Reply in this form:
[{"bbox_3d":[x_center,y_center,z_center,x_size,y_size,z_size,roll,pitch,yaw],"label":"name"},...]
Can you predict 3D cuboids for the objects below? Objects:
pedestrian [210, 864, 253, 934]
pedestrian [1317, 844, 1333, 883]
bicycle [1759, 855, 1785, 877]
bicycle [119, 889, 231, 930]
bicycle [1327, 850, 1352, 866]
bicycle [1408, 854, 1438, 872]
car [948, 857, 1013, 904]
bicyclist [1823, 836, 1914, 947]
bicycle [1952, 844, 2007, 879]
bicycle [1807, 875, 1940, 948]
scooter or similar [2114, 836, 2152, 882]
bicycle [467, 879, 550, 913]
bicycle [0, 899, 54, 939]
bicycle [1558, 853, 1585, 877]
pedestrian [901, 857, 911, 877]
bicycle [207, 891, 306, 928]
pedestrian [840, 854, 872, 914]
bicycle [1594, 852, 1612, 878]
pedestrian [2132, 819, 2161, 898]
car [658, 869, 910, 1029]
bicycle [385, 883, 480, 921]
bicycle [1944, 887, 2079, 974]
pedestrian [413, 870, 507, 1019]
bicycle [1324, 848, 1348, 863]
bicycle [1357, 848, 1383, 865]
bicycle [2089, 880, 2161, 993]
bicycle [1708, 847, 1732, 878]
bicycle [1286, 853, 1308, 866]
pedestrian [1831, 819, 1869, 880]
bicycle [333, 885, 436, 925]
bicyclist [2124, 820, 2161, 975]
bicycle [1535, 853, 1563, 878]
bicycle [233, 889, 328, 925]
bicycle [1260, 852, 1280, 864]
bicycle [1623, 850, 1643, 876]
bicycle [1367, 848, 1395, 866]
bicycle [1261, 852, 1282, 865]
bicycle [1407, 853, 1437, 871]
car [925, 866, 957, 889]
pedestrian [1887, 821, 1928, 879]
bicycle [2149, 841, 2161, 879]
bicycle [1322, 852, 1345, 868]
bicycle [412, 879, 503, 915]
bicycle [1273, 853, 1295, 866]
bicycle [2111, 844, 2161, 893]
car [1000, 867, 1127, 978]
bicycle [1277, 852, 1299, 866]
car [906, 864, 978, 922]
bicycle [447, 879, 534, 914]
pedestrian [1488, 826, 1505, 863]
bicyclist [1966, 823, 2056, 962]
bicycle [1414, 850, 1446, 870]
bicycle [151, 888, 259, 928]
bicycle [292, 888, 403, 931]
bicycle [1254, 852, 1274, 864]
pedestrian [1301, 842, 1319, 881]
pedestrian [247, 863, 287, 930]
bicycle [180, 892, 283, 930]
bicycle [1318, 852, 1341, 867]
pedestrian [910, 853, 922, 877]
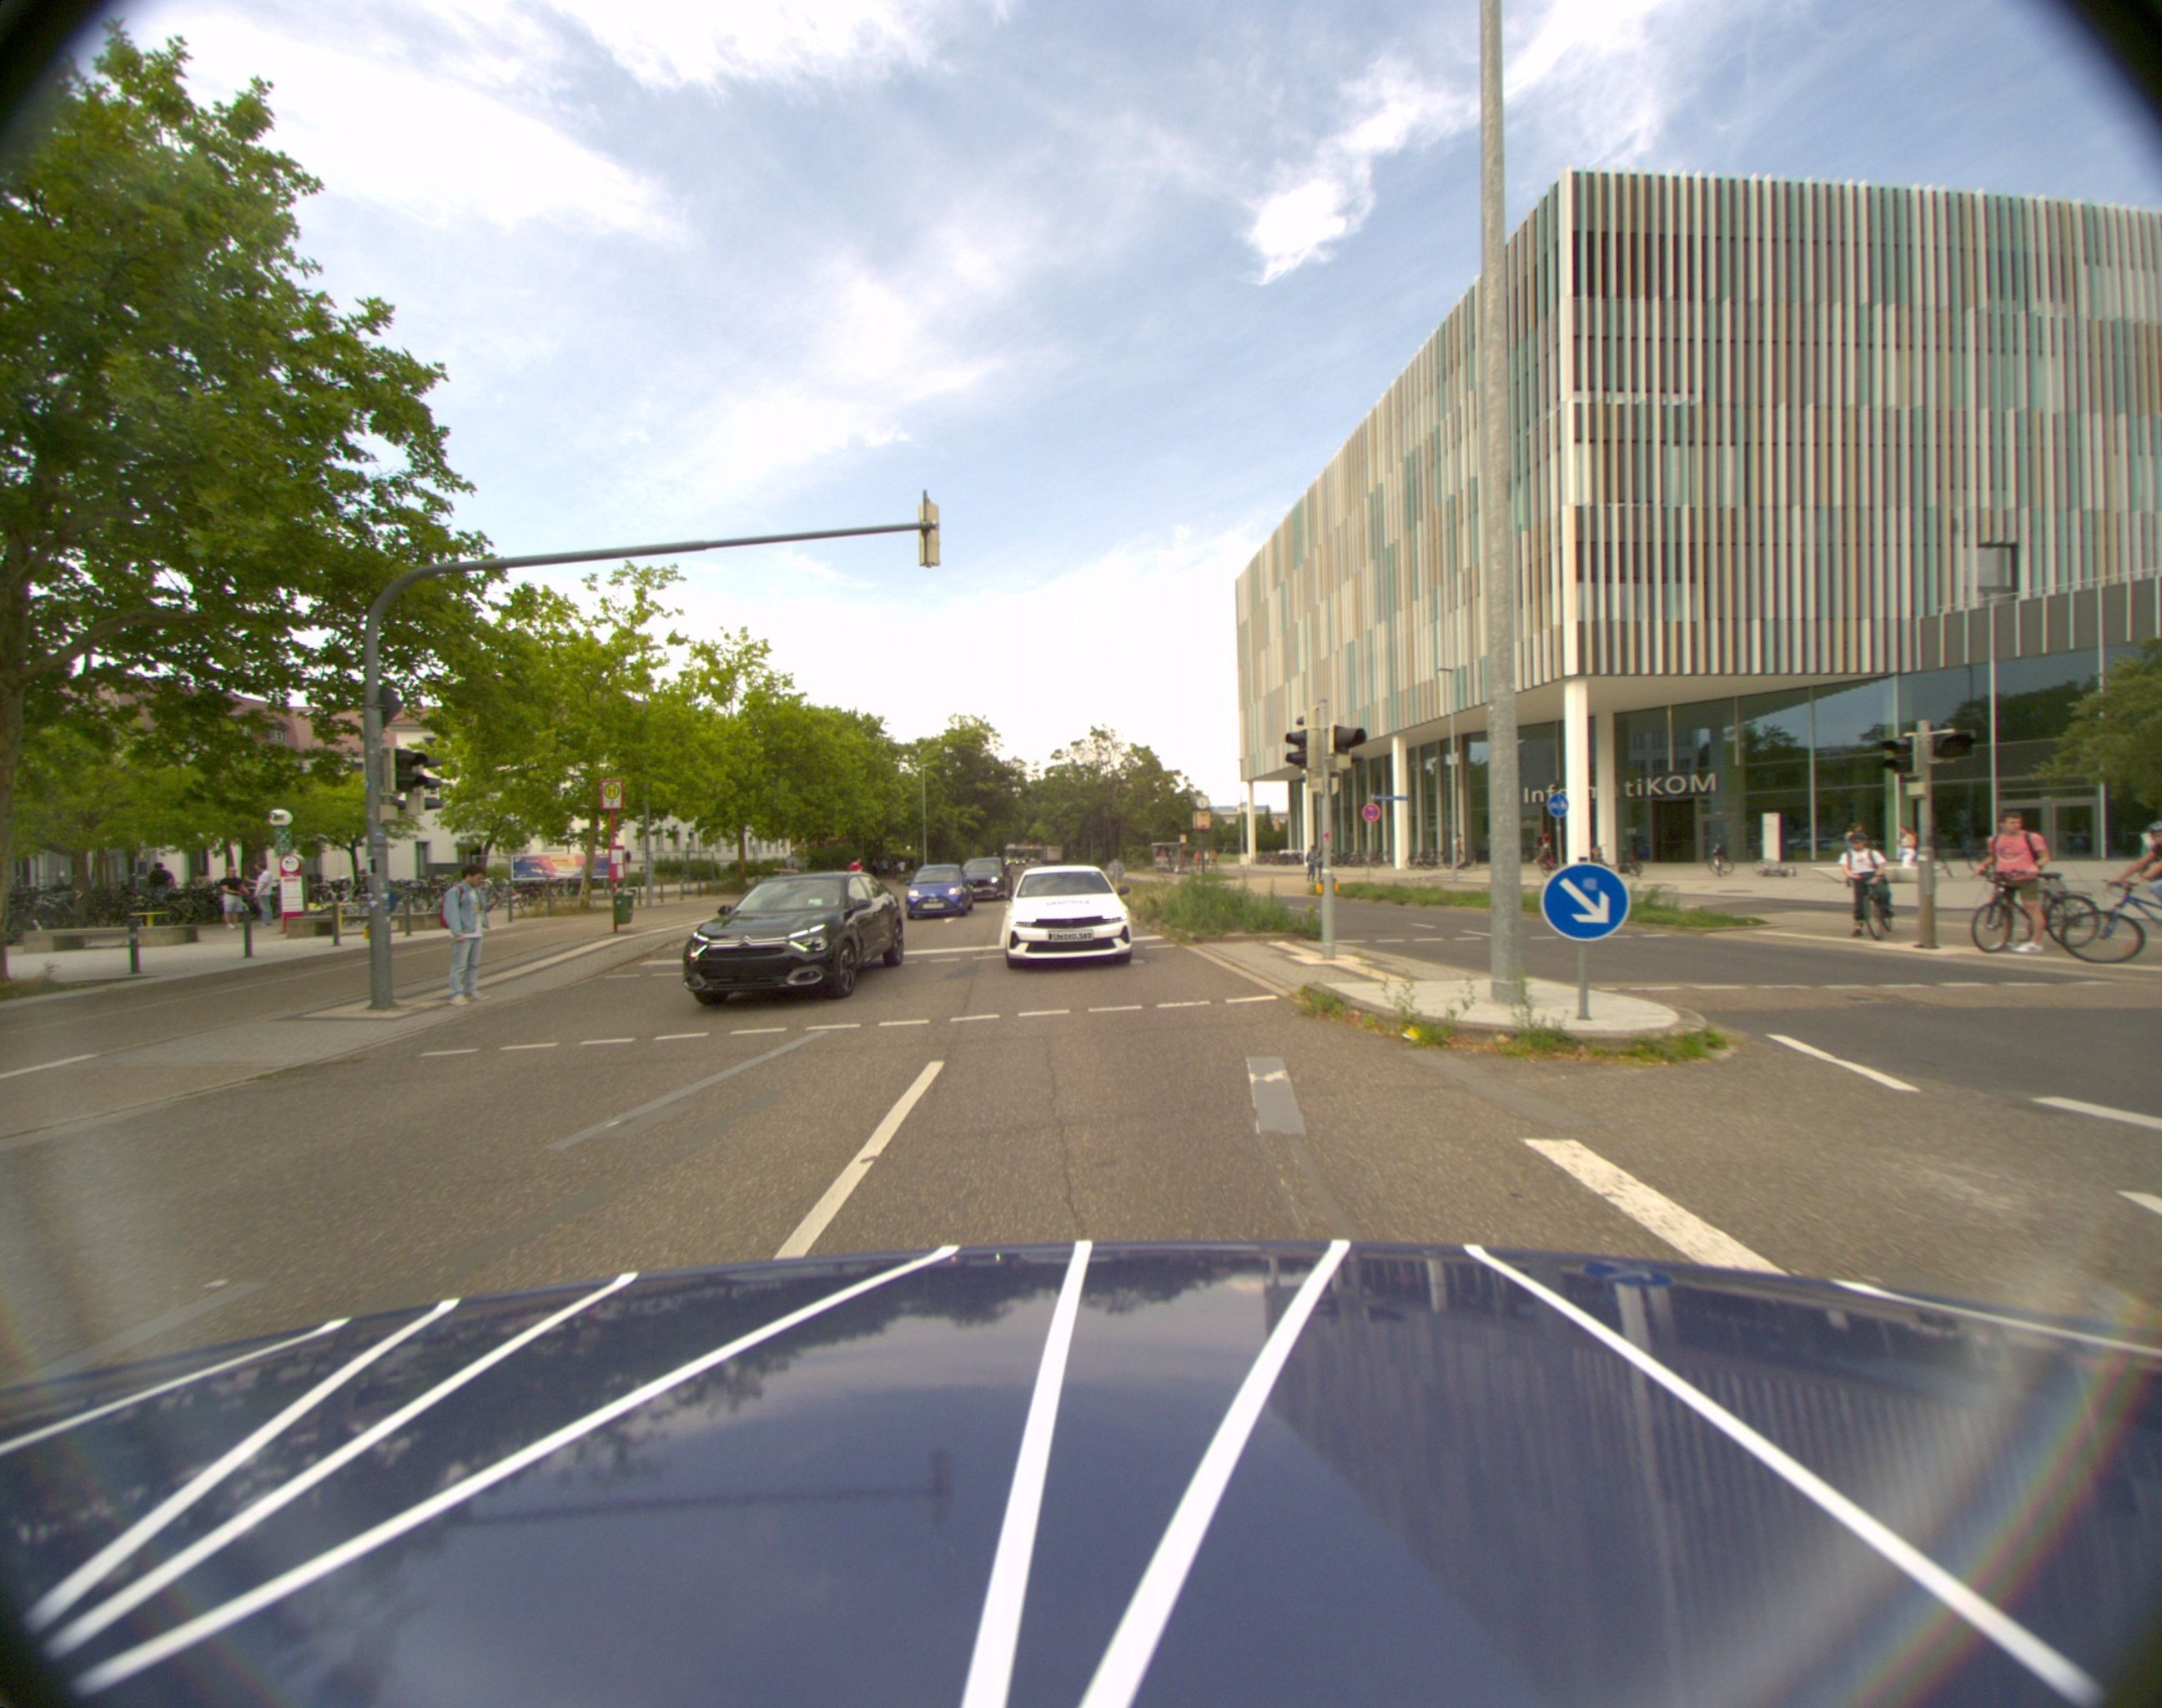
[{"bbox_3d":[-24.807,1.303,22.193,0.687,1.952,0.601,-4,1,-43],"label":"pedestrian"},{"bbox_3d":[11.726,0.445,36.533,0.512,1.826,0.624,-2,0,-5],"label":"pedestrian"},{"bbox_3d":[24.349,0.417,26.790,0.393,0.669,1.799,-3,1,33],"label":"bicycle"},{"bbox_3d":[-28.187,1.730,23.674,2.472,1.136,0.717,-2,1,-3],"label":"bicycle"},{"bbox_3d":[17.996,0.278,52.943,1.582,1.017,0.389,-4,1,-9],"label":"bicycle"},{"bbox_3d":[19.090,0.496,42.446,1.546,0.932,0.394,-4,1,-9],"label":"bicycle"},{"bbox_3d":[-3.852,0.961,29.859,1.904,1.639,4.645,-2,0,0],"label":"car"},{"bbox_3d":[12.504,0.575,12.073,0.729,1.663,0.722,-4,1,-18],"label":"bicyclist"},{"bbox_3d":[26.811,0.197,22.707,0.622,0.979,2.255,-2,0,39],"label":"bicycle"},{"bbox_3d":[12.641,0.884,12.118,1.823,0.983,0.727,-3,1,-18],"label":"bicycle"},{"bbox_3d":[29.467,0.125,21.293,2.129,1.191,0.594,-2,0,-36],"label":"scooter or similar"},{"bbox_3d":[-21.481,1.560,28.557,2.472,1.136,0.717,-2,1,-3],"label":"bicycle"},{"bbox_3d":[-33.342,2.031,23.314,2.472,1.136,0.717,-2,1,-3],"label":"bicycle"},{"bbox_3d":[20.713,0.453,32.099,1.600,0.932,0.393,-4,1,-37],"label":"bicycle"},{"bbox_3d":[-13.962,1.038,60.643,0.646,1.556,0.804,-2,1,-6],"label":"pedestrian"},{"bbox_3d":[-28.308,1.890,26.125,2.472,1.136,0.717,-2,1,-3],"label":"bicycle"},{"bbox_3d":[-7.096,0.929,24.048,0.727,1.843,1.064,-2,1,-6],"label":"pedestrian"},{"bbox_3d":[20.758,0.415,30.227,0.393,0.932,1.600,-3,1,29],"label":"bicycle"},{"bbox_3d":[21.610,0.080,15.089,0.652,1.571,0.574,-2,1,1],"label":"pedestrian"},{"bbox_3d":[-3.652,1.064,10.258,1.804,1.547,4.175,-3,0,-2],"label":"car"},{"bbox_3d":[-21.972,1.614,25.772,2.472,1.136,0.717,-2,1,-3],"label":"bicycle"},{"bbox_3d":[12.646,1.005,10.325,1.693,0.983,0.571,-4,1,-18],"label":"bicycle"},{"bbox_3d":[-7.945,1.130,9.747,0.574,1.806,0.681,-2,1,-1],"label":"pedestrian"},{"bbox_3d":[18.385,0.121,54.785,1.582,1.017,0.389,-4,1,-9],"label":"bicycle"},{"bbox_3d":[19.170,0.171,50.350,1.582,1.017,0.389,-4,1,-9],"label":"bicycle"},{"bbox_3d":[12.787,0.932,8.909,1.897,1.163,0.606,-2,0,-19],"label":"bicycle"},{"bbox_3d":[23.169,0.285,27.548,1.549,1.023,0.393,-4,1,-41],"label":"bicycle"},{"bbox_3d":[17.977,0.458,63.105,1.704,1.017,0.389,-4,1,-9],"label":"bicycle"},{"bbox_3d":[22.388,-0.125,22.111,0.731,1.730,0.677,-2,1,-38],"label":"pedestrian"},{"bbox_3d":[-21.908,1.602,23.928,2.472,1.136,0.717,-2,1,-3],"label":"bicycle"},{"bbox_3d":[12.855,0.498,8.904,0.602,1.796,0.561,-4,1,-18],"label":"bicyclist"},{"bbox_3d":[19.704,0.464,31.972,1.613,0.932,0.393,-4,1,-37],"label":"bicycle"},{"bbox_3d":[-28.352,1.885,26.935,2.472,1.136,0.717,-2,1,-3],"label":"bicycle"},{"bbox_3d":[17.463,0.399,70.087,1.704,1.017,0.434,-4,1,-9],"label":"bicycle"},{"bbox_3d":[21.521,0.345,29.639,0.393,0.932,1.600,-3,1,29],"label":"bicycle"},{"bbox_3d":[18.944,0.164,47.972,1.582,1.017,0.389,-4,1,-9],"label":"bicycle"},{"bbox_3d":[17.360,0.412,69.200,1.704,1.017,0.434,-4,1,-9],"label":"bicycle"},{"bbox_3d":[19.418,0.465,43.283,1.546,0.932,0.389,-4,1,-9],"label":"bicycle"},{"bbox_3d":[-9.380,1.552,51.211,1.704,1.361,3.830,-2,0,-5],"label":"car"},{"bbox_3d":[23.301,-0.106,21.426,0.731,1.591,0.677,-2,1,-35],"label":"pedestrian"},{"bbox_3d":[29.397,0.121,20.046,2.685,0.994,0.672,-2,1,-19],"label":"bicycle"},{"bbox_3d":[18.348,0.448,55.215,1.582,1.017,0.389,-4,1,-9],"label":"bicycle"},{"bbox_3d":[-21.869,1.513,26.685,2.472,1.136,0.717,-2,1,-3],"label":"bicycle"},{"bbox_3d":[17.535,0.436,65.573,1.704,1.017,0.434,-4,1,-9],"label":"bicycle"},{"bbox_3d":[22.544,0.292,15.583,0.440,0.993,1.748,-2,0,-1],"label":"bicycle"},{"bbox_3d":[-0.437,1.004,13.076,1.745,1.430,4.780,-2,0,-5],"label":"car"},{"bbox_3d":[17.620,0.421,64.726,1.704,1.017,0.434,-4,1,-9],"label":"bicycle"},{"bbox_3d":[-4.044,1.076,22.689,1.704,1.485,3.830,-2,0,-5],"label":"car"},{"bbox_3d":[-21.471,1.545,27.654,2.472,1.136,0.717,-2,1,-3],"label":"bicycle"},{"bbox_3d":[22.779,-0.509,41.672,0.512,2.031,0.624,-2,0,-6],"label":"pedestrian"},{"bbox_3d":[12.609,0.506,10.312,0.602,1.796,0.561,-4,1,-18],"label":"bicyclist"},{"bbox_3d":[19.189,0.318,41.771,1.546,0.989,0.399,-4,1,-8],"label":"bicycle"},{"bbox_3d":[-28.229,1.723,24.505,2.472,1.136,0.717,-2,1,-3],"label":"bicycle"},{"bbox_3d":[-21.919,1.651,22.735,2.472,1.136,0.717,-2,1,-3],"label":"bicycle"},{"bbox_3d":[17.260,0.396,71.558,1.704,1.017,0.434,-4,1,-9],"label":"bicycle"},{"bbox_3d":[10.991,0.359,36.444,0.512,1.826,0.772,-2,0,-5],"label":"pedestrian"},{"bbox_3d":[-24.293,1.257,22.685,0.687,1.952,0.601,-4,1,-43],"label":"pedestrian"},{"bbox_3d":[-28.255,1.891,25.290,2.472,1.136,0.717,-2,1,-3],"label":"bicycle"},{"bbox_3d":[18.239,0.416,55.835,1.582,1.017,0.389,-2,1,-9],"label":"bicycle"},{"bbox_3d":[-13.204,0.873,60.747,0.798,1.922,0.760,-2,1,-5],"label":"pedestrian"}]
